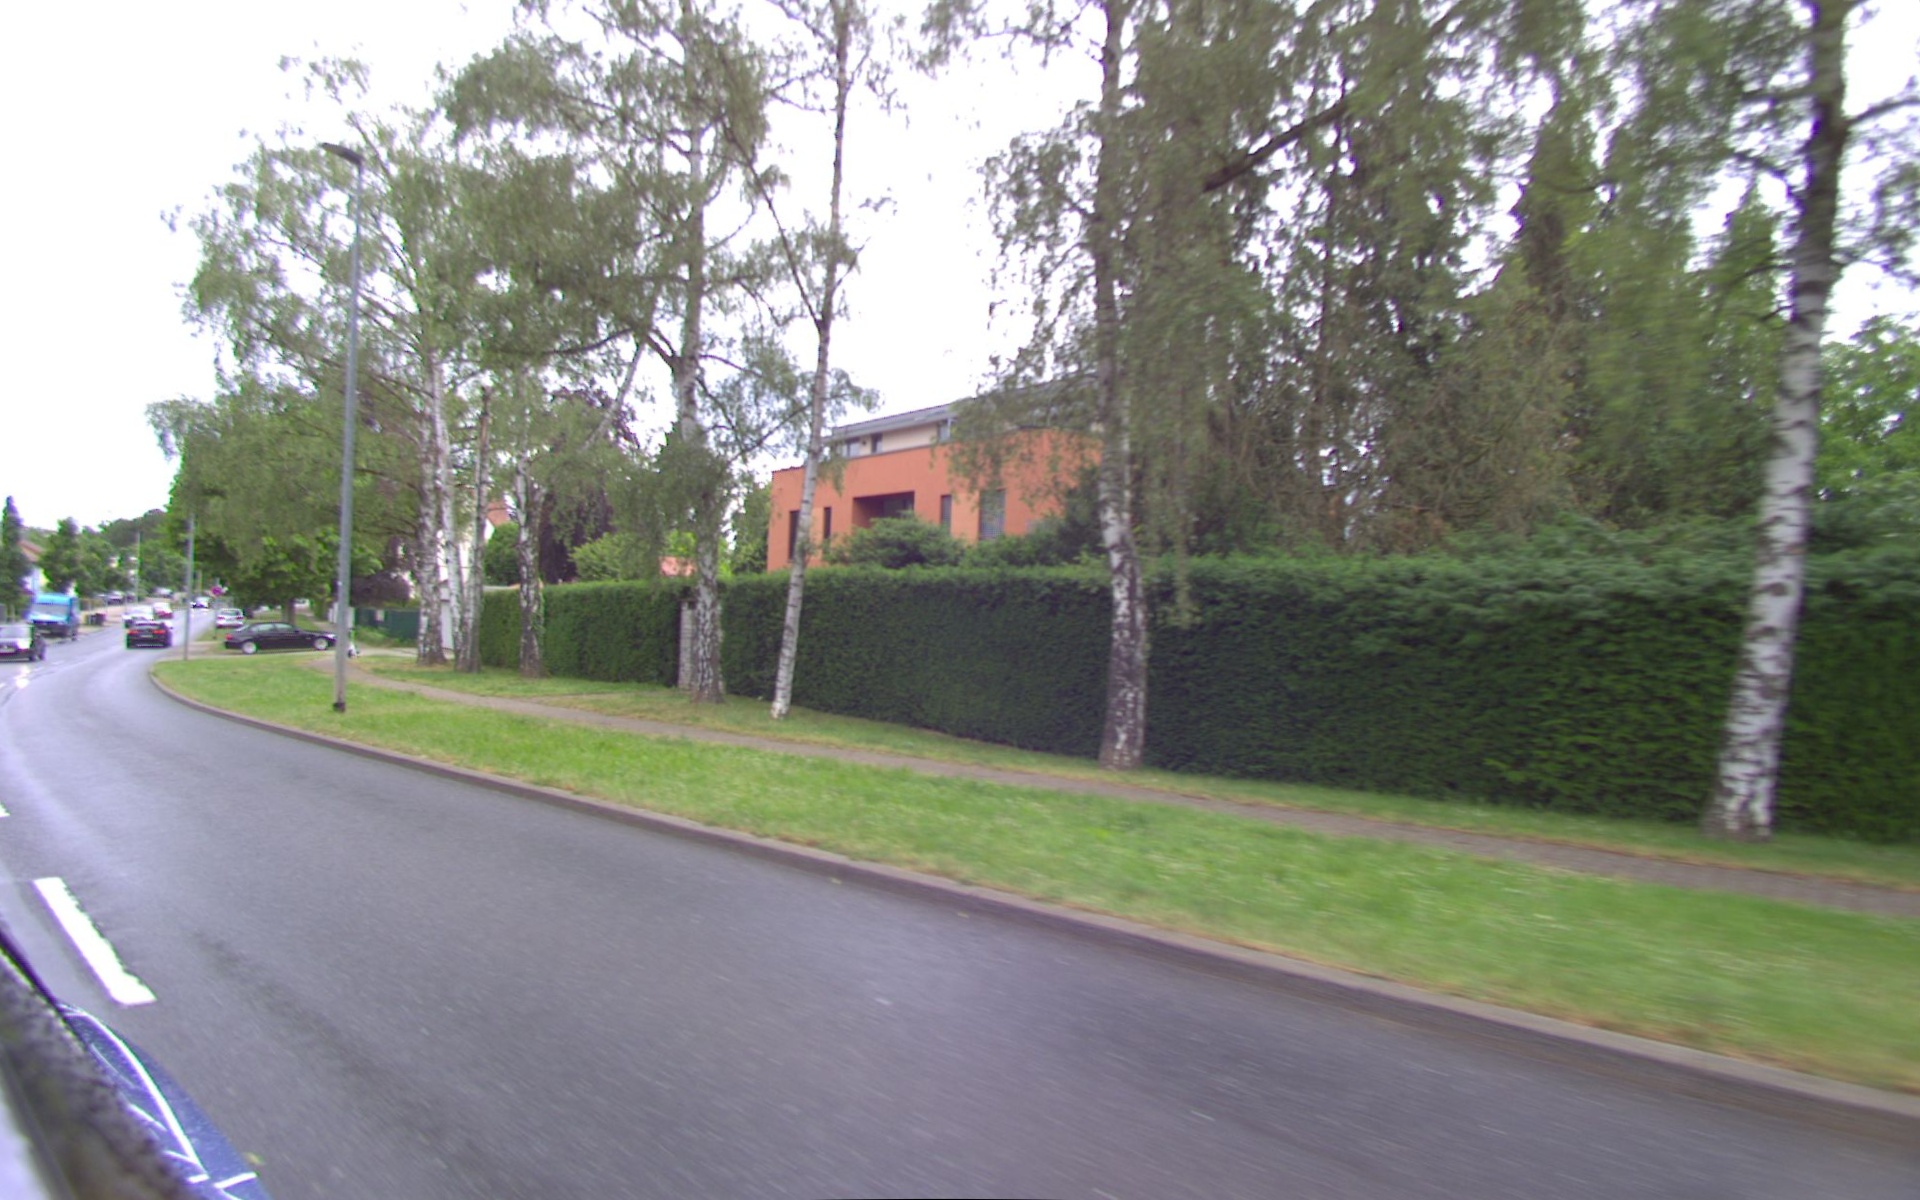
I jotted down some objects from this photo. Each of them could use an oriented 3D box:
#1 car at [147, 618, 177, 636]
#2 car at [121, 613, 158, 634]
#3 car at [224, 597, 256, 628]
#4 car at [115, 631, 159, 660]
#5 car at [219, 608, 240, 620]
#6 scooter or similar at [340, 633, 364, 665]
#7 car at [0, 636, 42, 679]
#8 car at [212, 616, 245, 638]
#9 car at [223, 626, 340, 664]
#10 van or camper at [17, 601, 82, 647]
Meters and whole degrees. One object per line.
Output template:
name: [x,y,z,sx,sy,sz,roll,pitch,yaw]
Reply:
car: [-75.050,2.536,95.179,1.865,1.552,4.011,0,0,-33]
car: [-64.590,1.841,79.743,1.865,1.552,4.011,0,0,-33]
car: [-70.110,1.216,98.563,2.211,2.860,5.059,0,1,-32]
car: [-44.864,2.445,55.147,1.733,1.452,4.163,0,-1,-41]
car: [-93.091,1.749,128.966,1.865,1.552,4.012,0,0,-31]
scooter or similar: [-23.429,1.870,39.012,0.418,1.167,1.494,-1,-1,-15]
car: [-38.814,2.317,41.110,1.818,1.552,4.009,0,0,-36]
car: [-57.154,2.106,79.113,1.746,1.619,4.012,2,-1,-32]
car: [-31.286,2.021,46.758,4.369,1.428,1.760,-3,1,-35]
van or camper: [-57.216,1.478,63.693,2.114,2.628,5.797,4,-2,-34]
